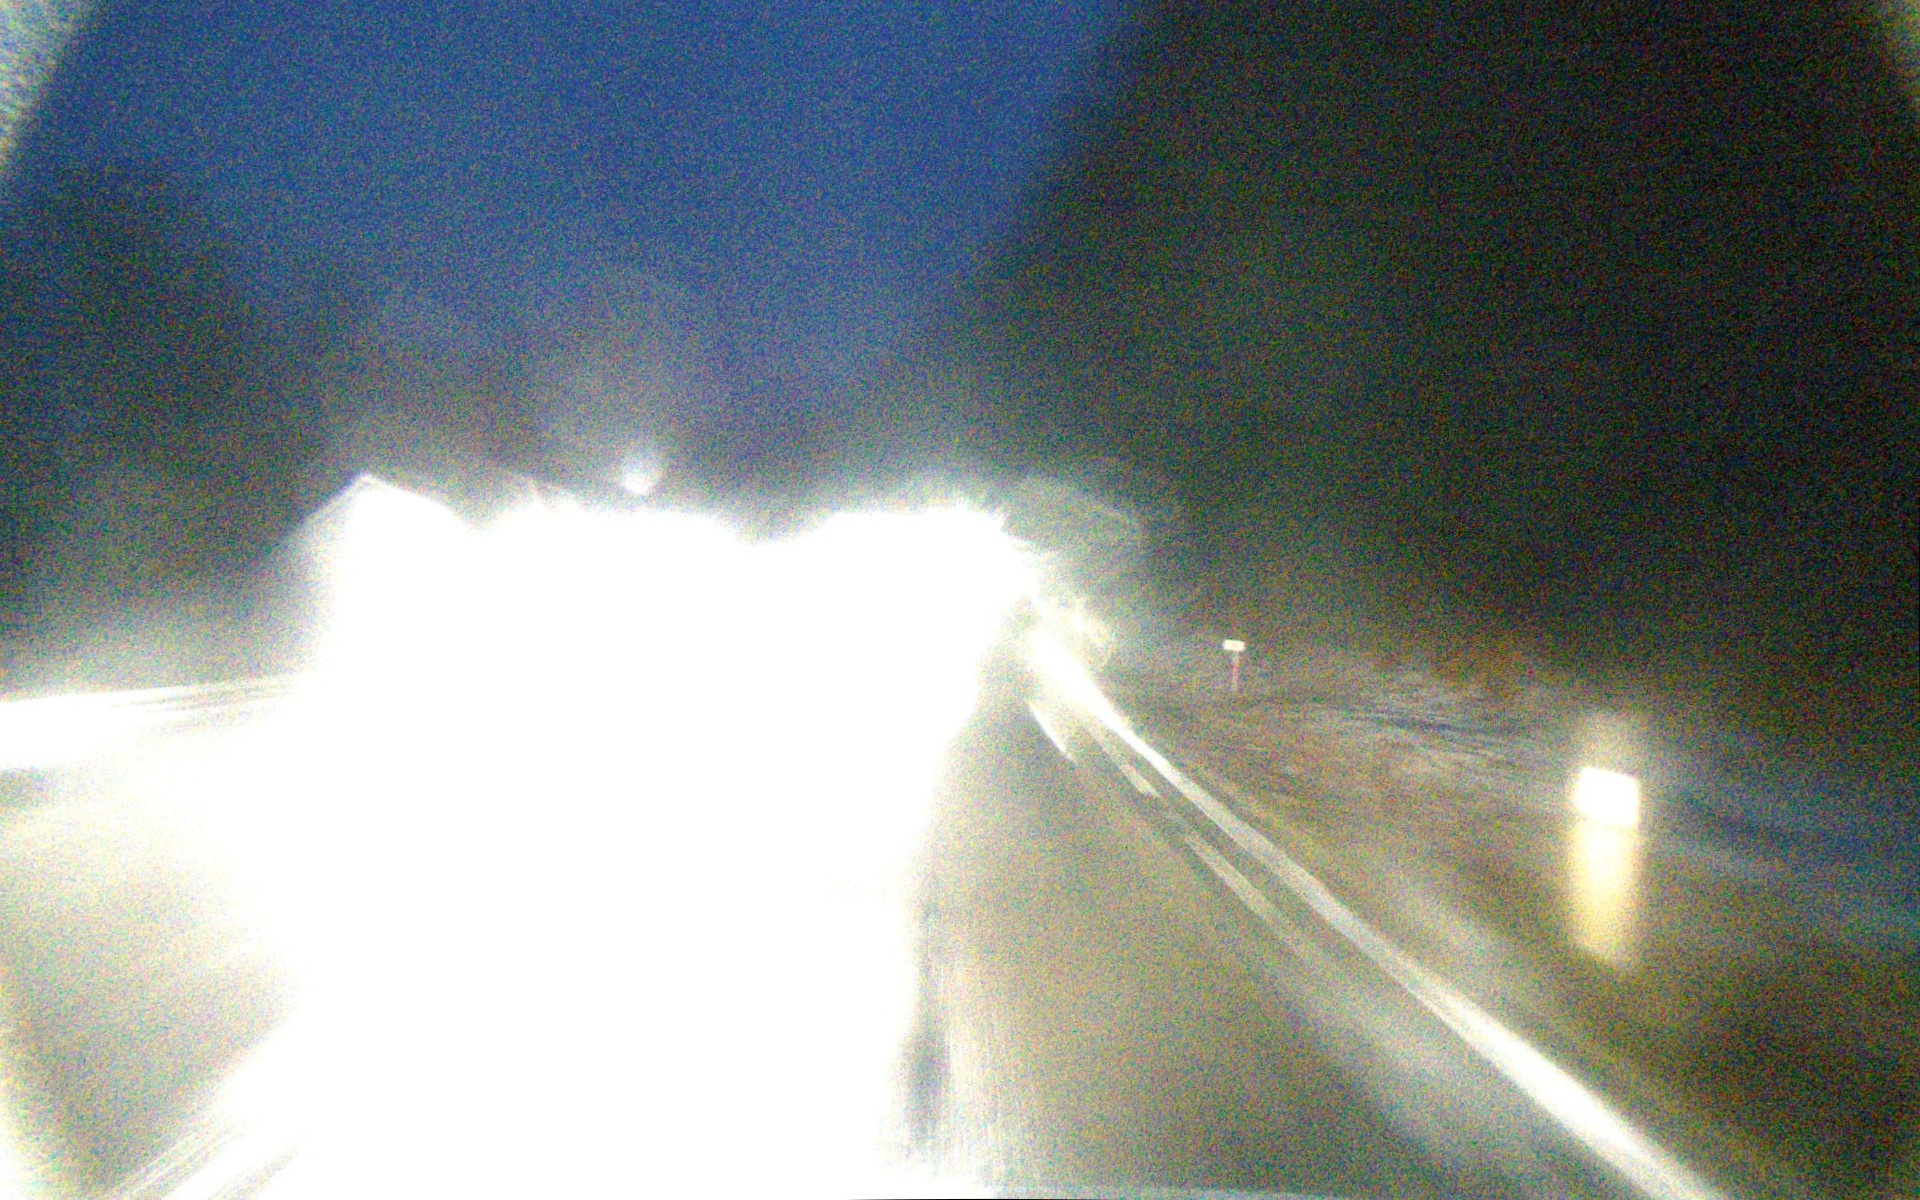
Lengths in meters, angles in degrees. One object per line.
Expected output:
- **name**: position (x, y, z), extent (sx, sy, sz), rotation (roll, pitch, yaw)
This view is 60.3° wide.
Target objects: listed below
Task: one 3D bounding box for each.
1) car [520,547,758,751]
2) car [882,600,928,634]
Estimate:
- **car**: position (-3.372, 0.487, 18.139), extent (1.817, 1.974, 4.000), rotation (0, 0, 0)
- **car**: position (-2.609, 0.781, 78.990), extent (1.878, 1.489, 4.260), rotation (2, 0, 1)
